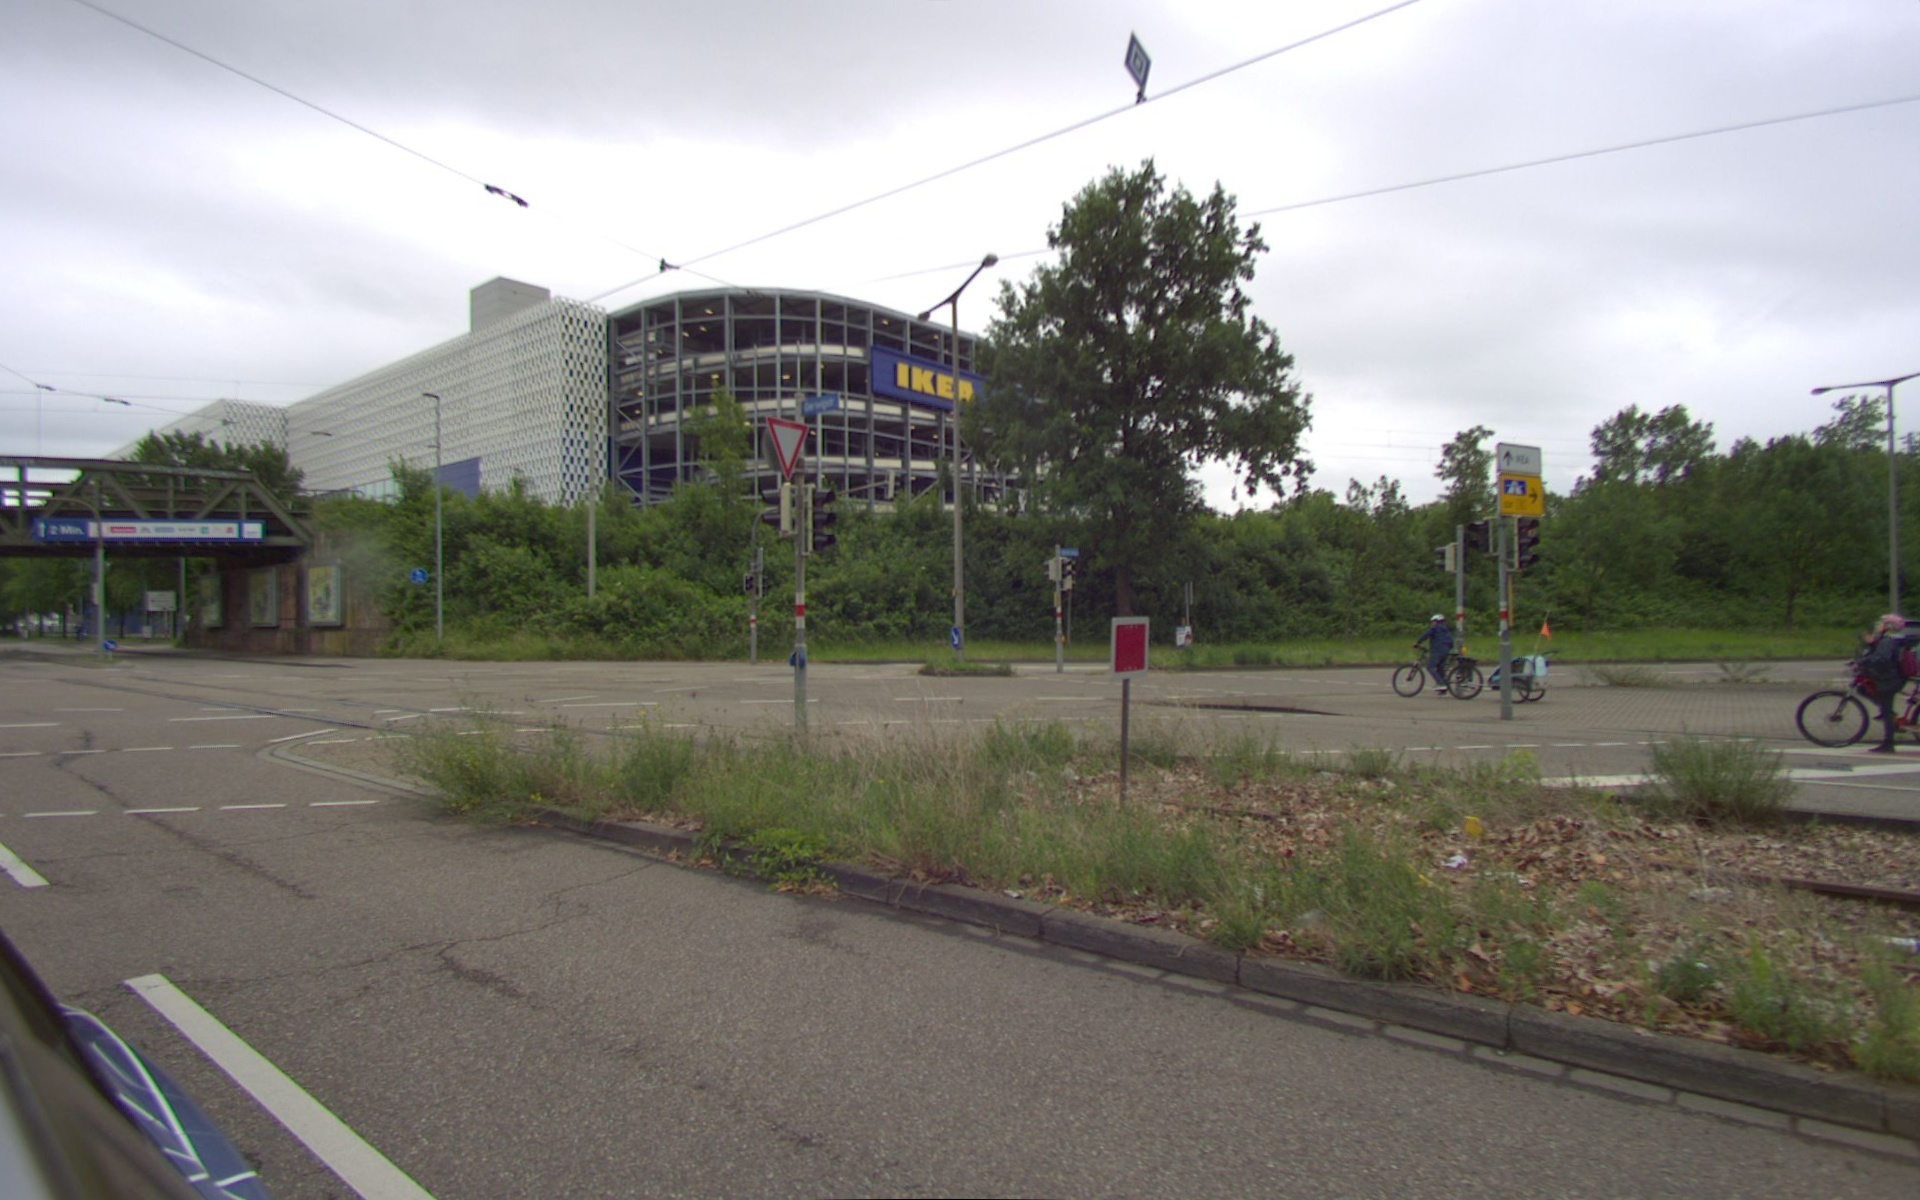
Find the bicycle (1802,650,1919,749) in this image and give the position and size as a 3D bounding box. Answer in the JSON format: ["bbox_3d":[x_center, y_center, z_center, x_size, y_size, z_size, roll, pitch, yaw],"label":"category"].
[{"bbox_3d":[10.986,1.127,11.541,2.018,1.070,0.640,-2,0,34],"label":"bicycle"}]

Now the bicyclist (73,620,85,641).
[{"bbox_3d":[-80.634,2.805,92.615,1.019,1.888,0.695,-1,1,40],"label":"bicyclist"}]

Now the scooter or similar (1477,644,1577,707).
[{"bbox_3d":[10.475,1.371,18.734,0.637,1.070,1.453,-2,0,-35],"label":"scooter or similar"}]

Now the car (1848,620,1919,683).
[{"bbox_3d":[24.955,1.304,26.350,3.607,1.539,1.779,0,-1,-32],"label":"car"}]

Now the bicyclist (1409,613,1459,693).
[{"bbox_3d":[9.460,1.041,20.205,0.637,1.530,0.628,-2,0,-35],"label":"bicyclist"}]

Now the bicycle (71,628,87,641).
[{"bbox_3d":[-80.612,3.151,92.610,2.369,1.195,0.706,-1,1,40],"label":"bicycle"}]

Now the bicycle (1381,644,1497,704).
[{"bbox_3d":[9.504,1.447,20.164,0.637,1.070,2.006,-2,0,-35],"label":"bicycle"}]

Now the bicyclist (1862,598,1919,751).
[{"bbox_3d":[10.887,0.832,11.597,0.684,1.696,0.640,-2,0,33],"label":"bicyclist"}]

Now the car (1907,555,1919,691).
[{"bbox_3d":[20.688,0.428,18.326,2.312,2.847,5.927,-1,-1,12],"label":"car"}]
